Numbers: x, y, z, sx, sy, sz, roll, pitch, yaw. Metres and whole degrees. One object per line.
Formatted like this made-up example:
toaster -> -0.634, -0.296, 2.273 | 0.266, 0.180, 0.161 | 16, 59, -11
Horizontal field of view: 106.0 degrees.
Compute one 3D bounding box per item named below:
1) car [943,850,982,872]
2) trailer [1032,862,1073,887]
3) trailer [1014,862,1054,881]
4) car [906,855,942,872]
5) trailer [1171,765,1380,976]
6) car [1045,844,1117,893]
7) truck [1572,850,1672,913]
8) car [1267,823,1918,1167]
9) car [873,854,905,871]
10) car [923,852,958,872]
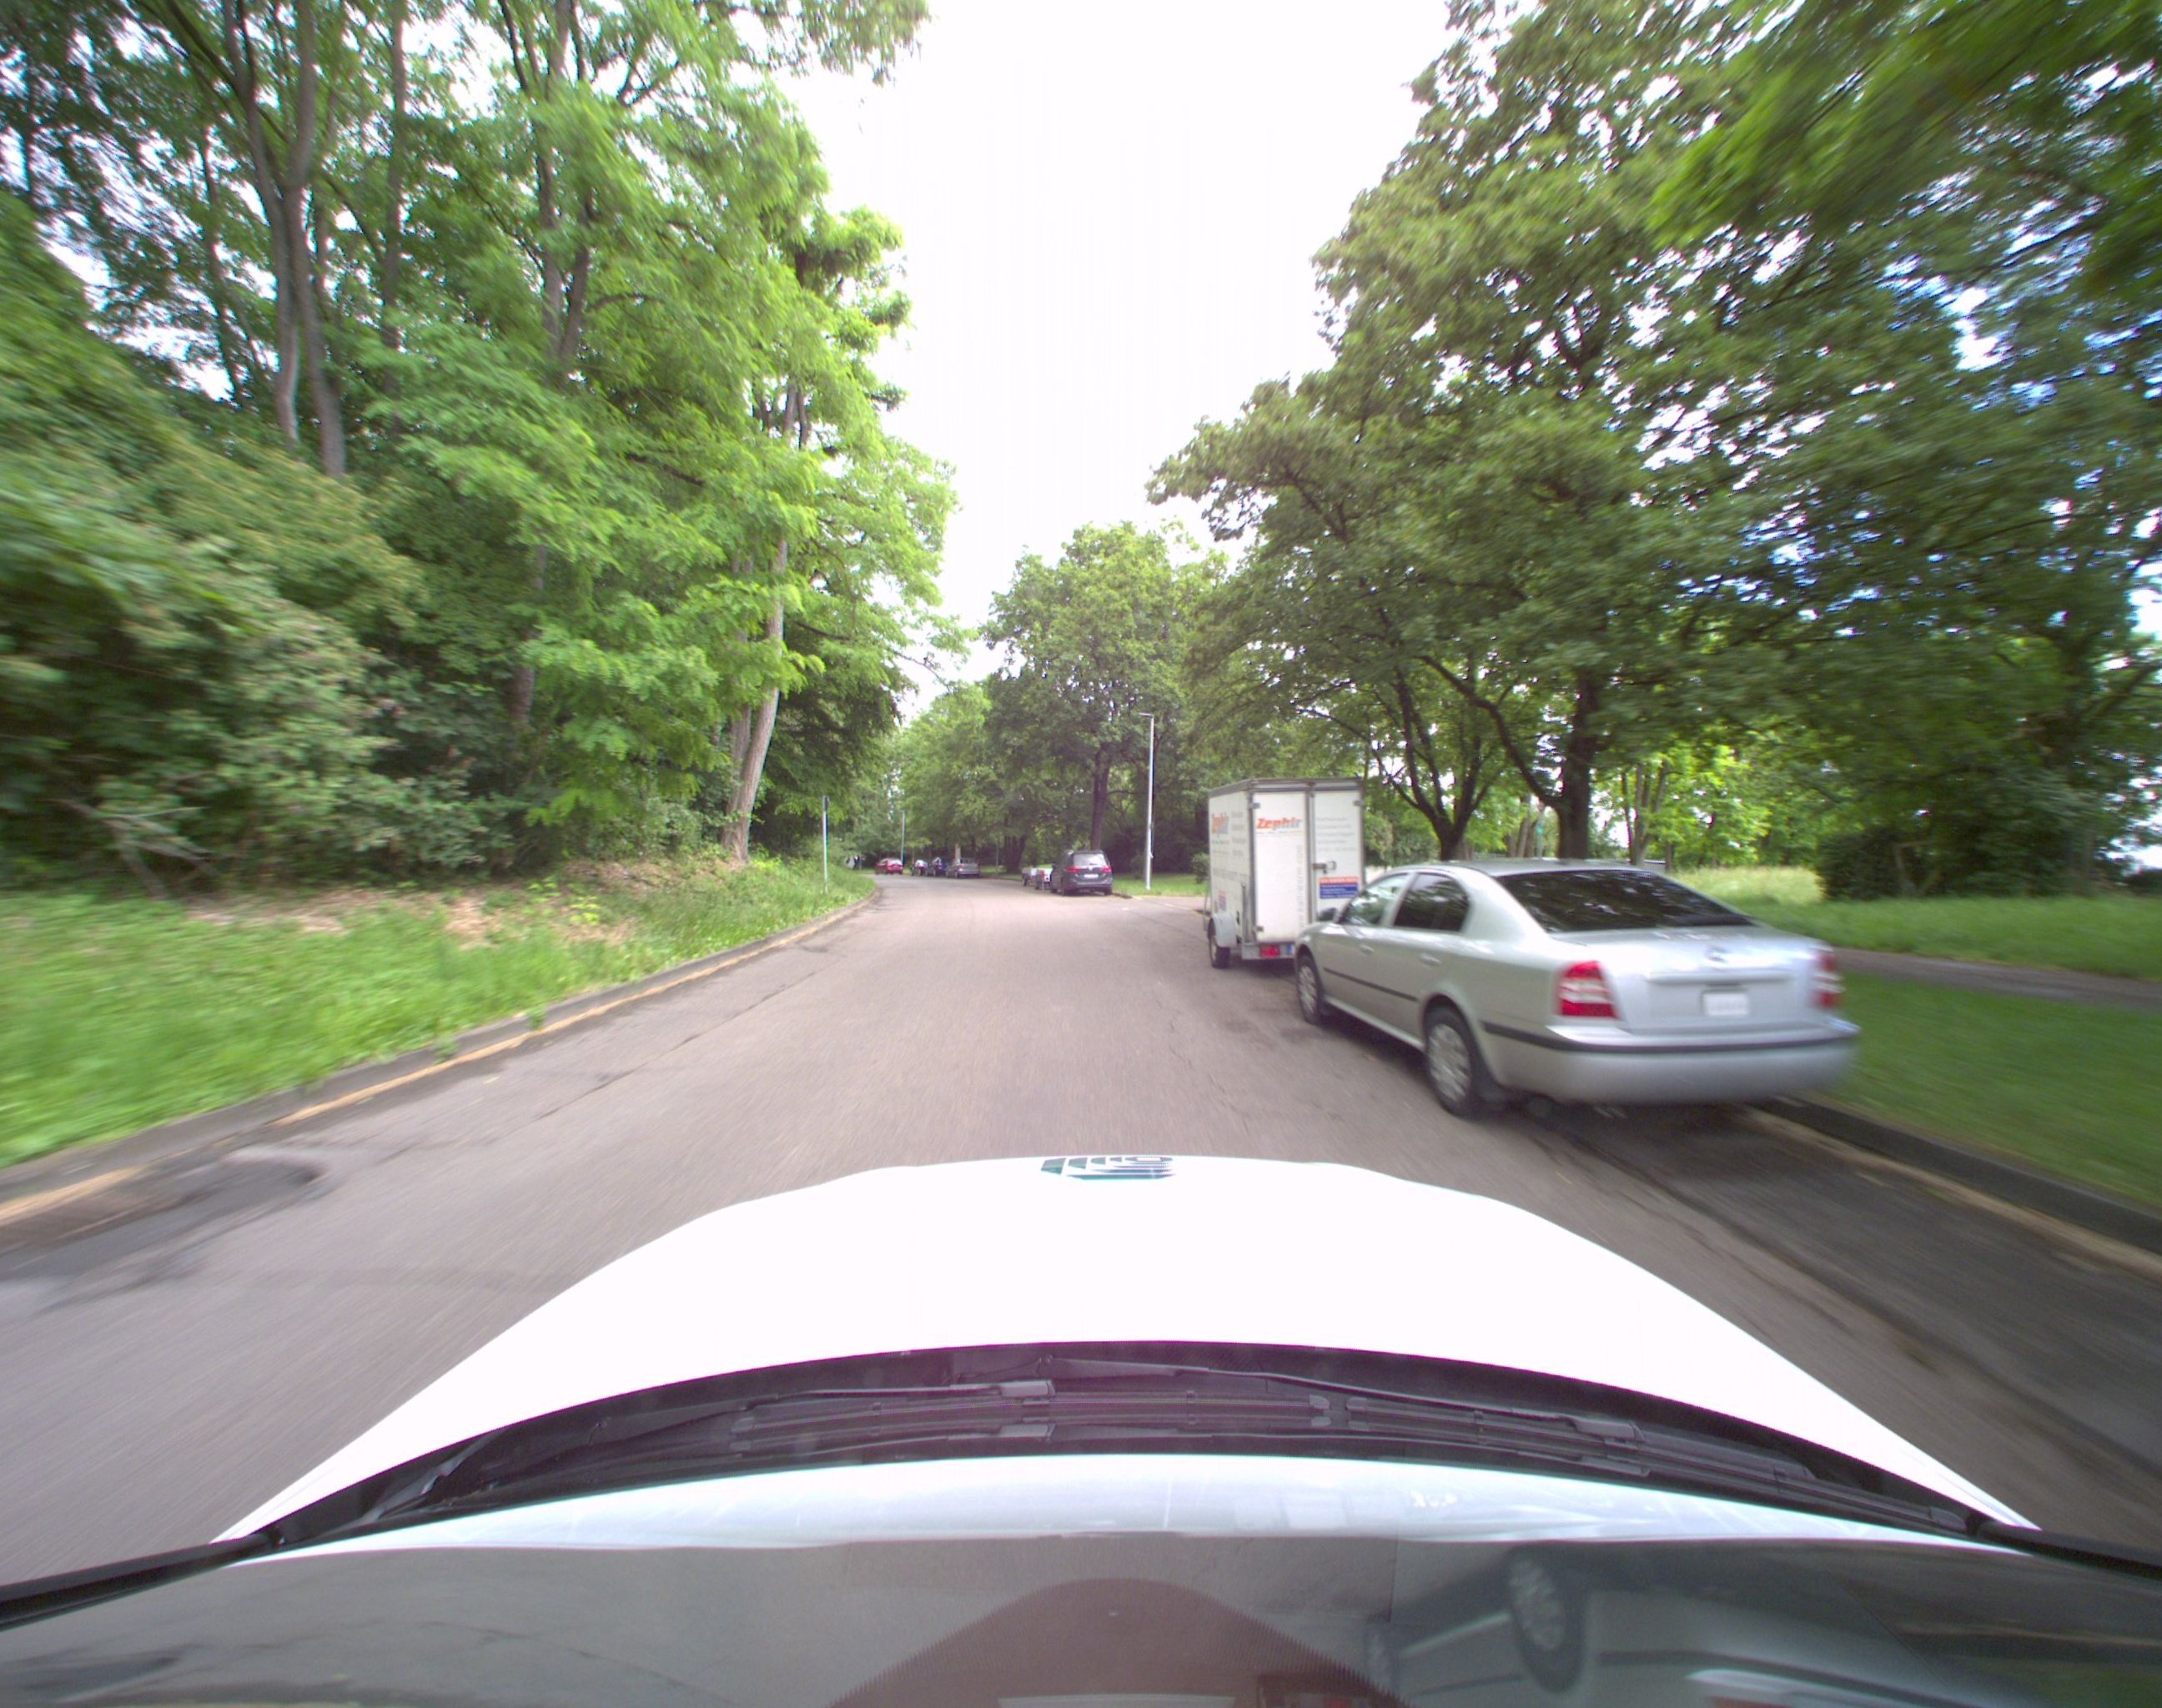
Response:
car -> -8.446, 0.521, 57.791 | 1.725, 1.431, 3.917 | -1, -1, -23
trailer -> -1.323, 0.892, 36.420 | 1.357, 0.969, 3.880 | 1, 0, -9
trailer -> -2.407, 0.887, 41.074 | 1.366, 0.848, 3.261 | 1, -2, -15
car -> -13.170, 0.787, 68.243 | 1.760, 1.337, 4.376 | 0, -1, -28
trailer -> 2.490, 0.173, 11.443 | 1.757, 2.427, 3.882 | -1, 0, -4
car -> -0.101, 0.518, 30.466 | 1.776, 1.662, 4.822 | 1, -1, -11
truck -> 36.853, 1.885, 55.296 | 9.615, 3.998, 2.667 | 2, -2, -37
car -> 2.897, 0.635, 6.046 | 1.737, 1.525, 4.630 | -1, 0, -3
car -> -18.317, 0.808, 77.609 | 1.750, 1.562, 3.959 | -1, -1, -32
car -> -11.092, 0.629, 63.995 | 1.722, 1.510, 4.147 | 2, -2, -24
